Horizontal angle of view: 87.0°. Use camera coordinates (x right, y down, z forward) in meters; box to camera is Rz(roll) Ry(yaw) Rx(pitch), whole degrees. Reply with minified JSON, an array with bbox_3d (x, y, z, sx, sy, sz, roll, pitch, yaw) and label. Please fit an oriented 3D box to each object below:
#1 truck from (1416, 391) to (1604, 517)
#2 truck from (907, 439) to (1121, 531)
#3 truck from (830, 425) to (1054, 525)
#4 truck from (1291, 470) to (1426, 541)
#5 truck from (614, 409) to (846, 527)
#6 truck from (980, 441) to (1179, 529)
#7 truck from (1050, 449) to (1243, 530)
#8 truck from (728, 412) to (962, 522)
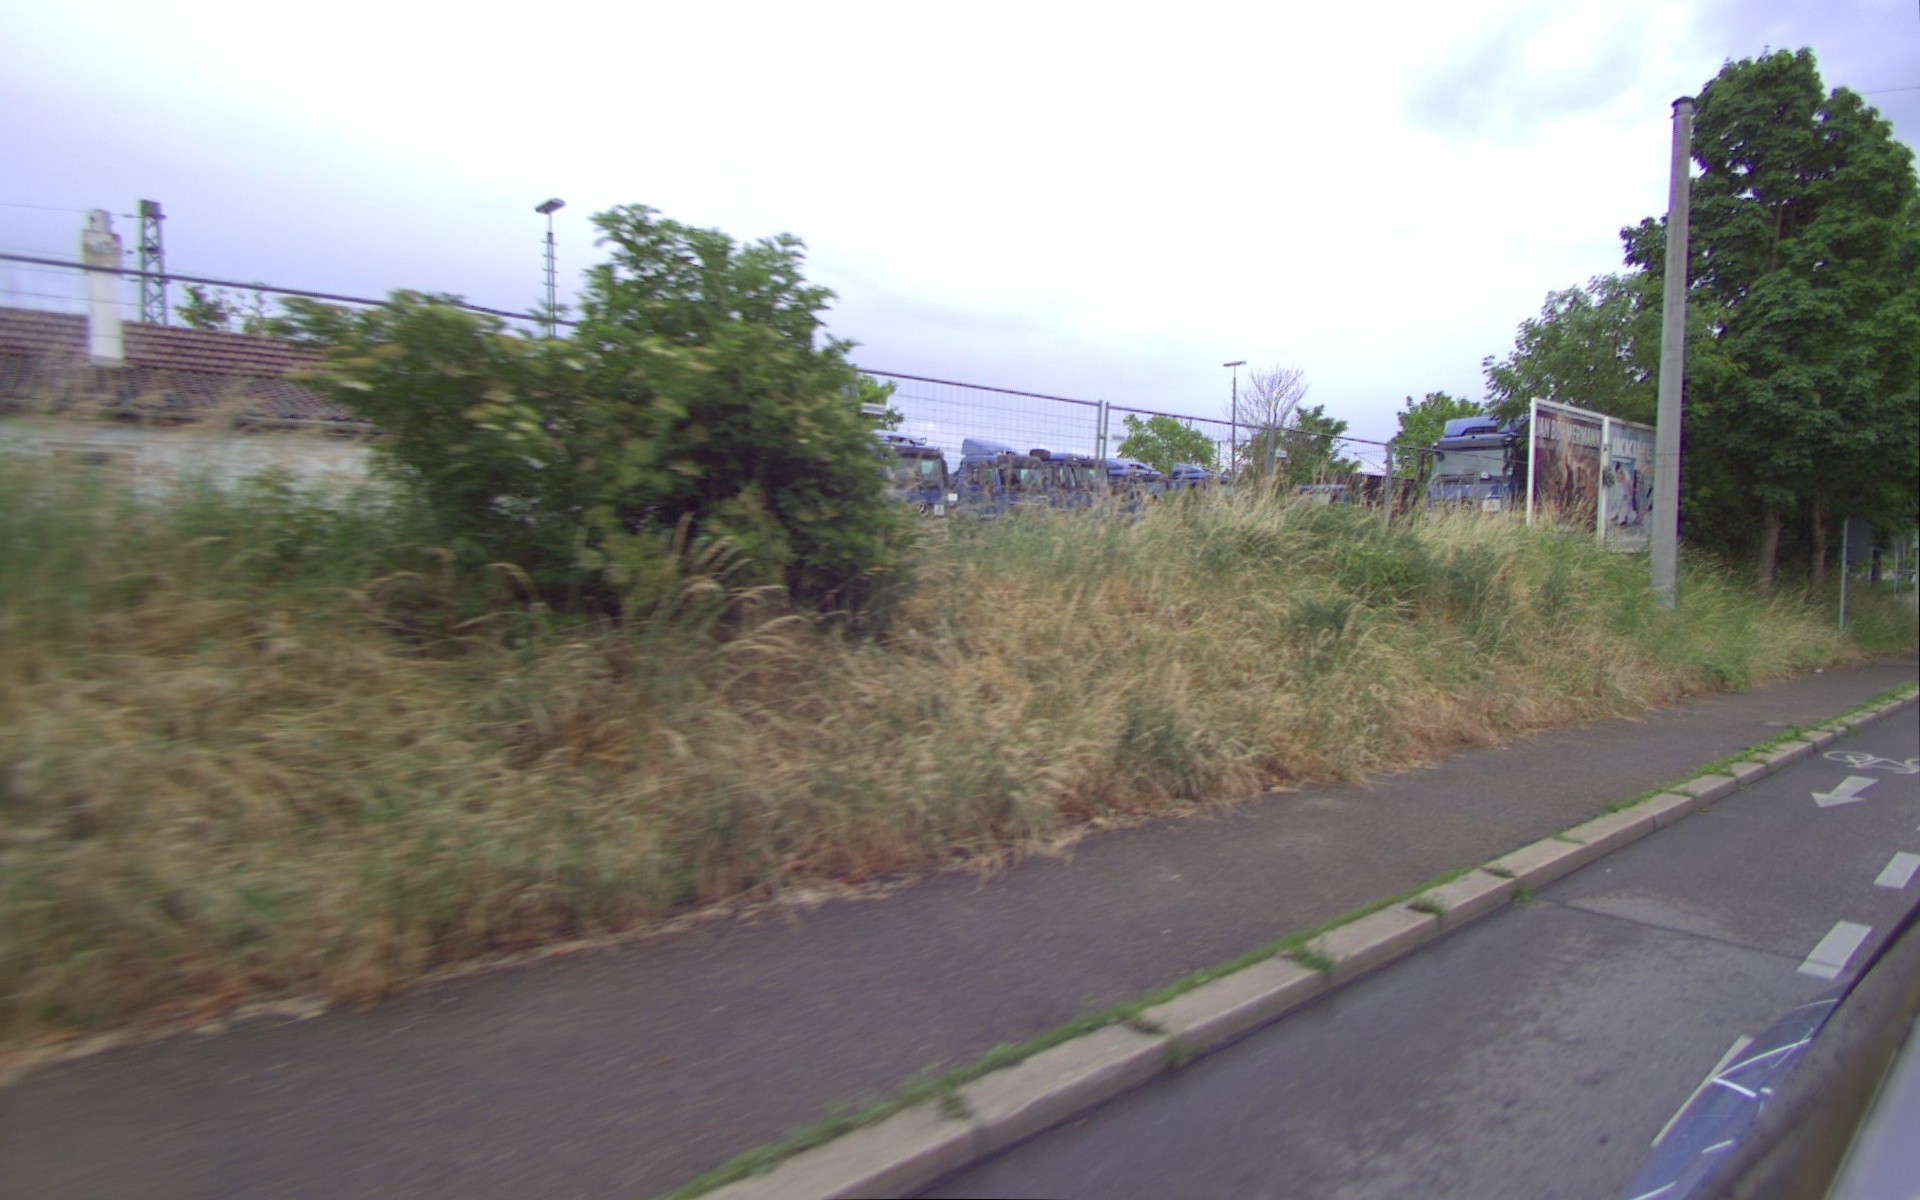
[{"bbox_3d":[14.806,-3.738,27.071,5.948,2.684,2.287,-3,-2,-41],"label":"truck"},{"bbox_3d":[1.671,-3.860,35.463,2.544,2.771,8.017,-3,4,-42],"label":"truck"},{"bbox_3d":[-0.812,-3.836,32.669,2.544,2.686,8.103,-3,4,-42],"label":"truck"},{"bbox_3d":[20.446,-4.685,51.565,9.476,3.235,2.254,-3,2,-41],"label":"truck"},{"bbox_3d":[-6.534,-3.376,27.719,2.587,2.649,8.013,-3,4,-42],"label":"truck"},{"bbox_3d":[4.327,-4.180,38.345,2.544,2.890,7.722,-3,4,-42],"label":"truck"},{"bbox_3d":[7.332,-4.323,40.919,2.544,2.849,7.748,-3,4,-42],"label":"truck"},{"bbox_3d":[-3.657,-3.715,29.995,2.544,2.648,8.310,-3,4,-42],"label":"truck"}]
